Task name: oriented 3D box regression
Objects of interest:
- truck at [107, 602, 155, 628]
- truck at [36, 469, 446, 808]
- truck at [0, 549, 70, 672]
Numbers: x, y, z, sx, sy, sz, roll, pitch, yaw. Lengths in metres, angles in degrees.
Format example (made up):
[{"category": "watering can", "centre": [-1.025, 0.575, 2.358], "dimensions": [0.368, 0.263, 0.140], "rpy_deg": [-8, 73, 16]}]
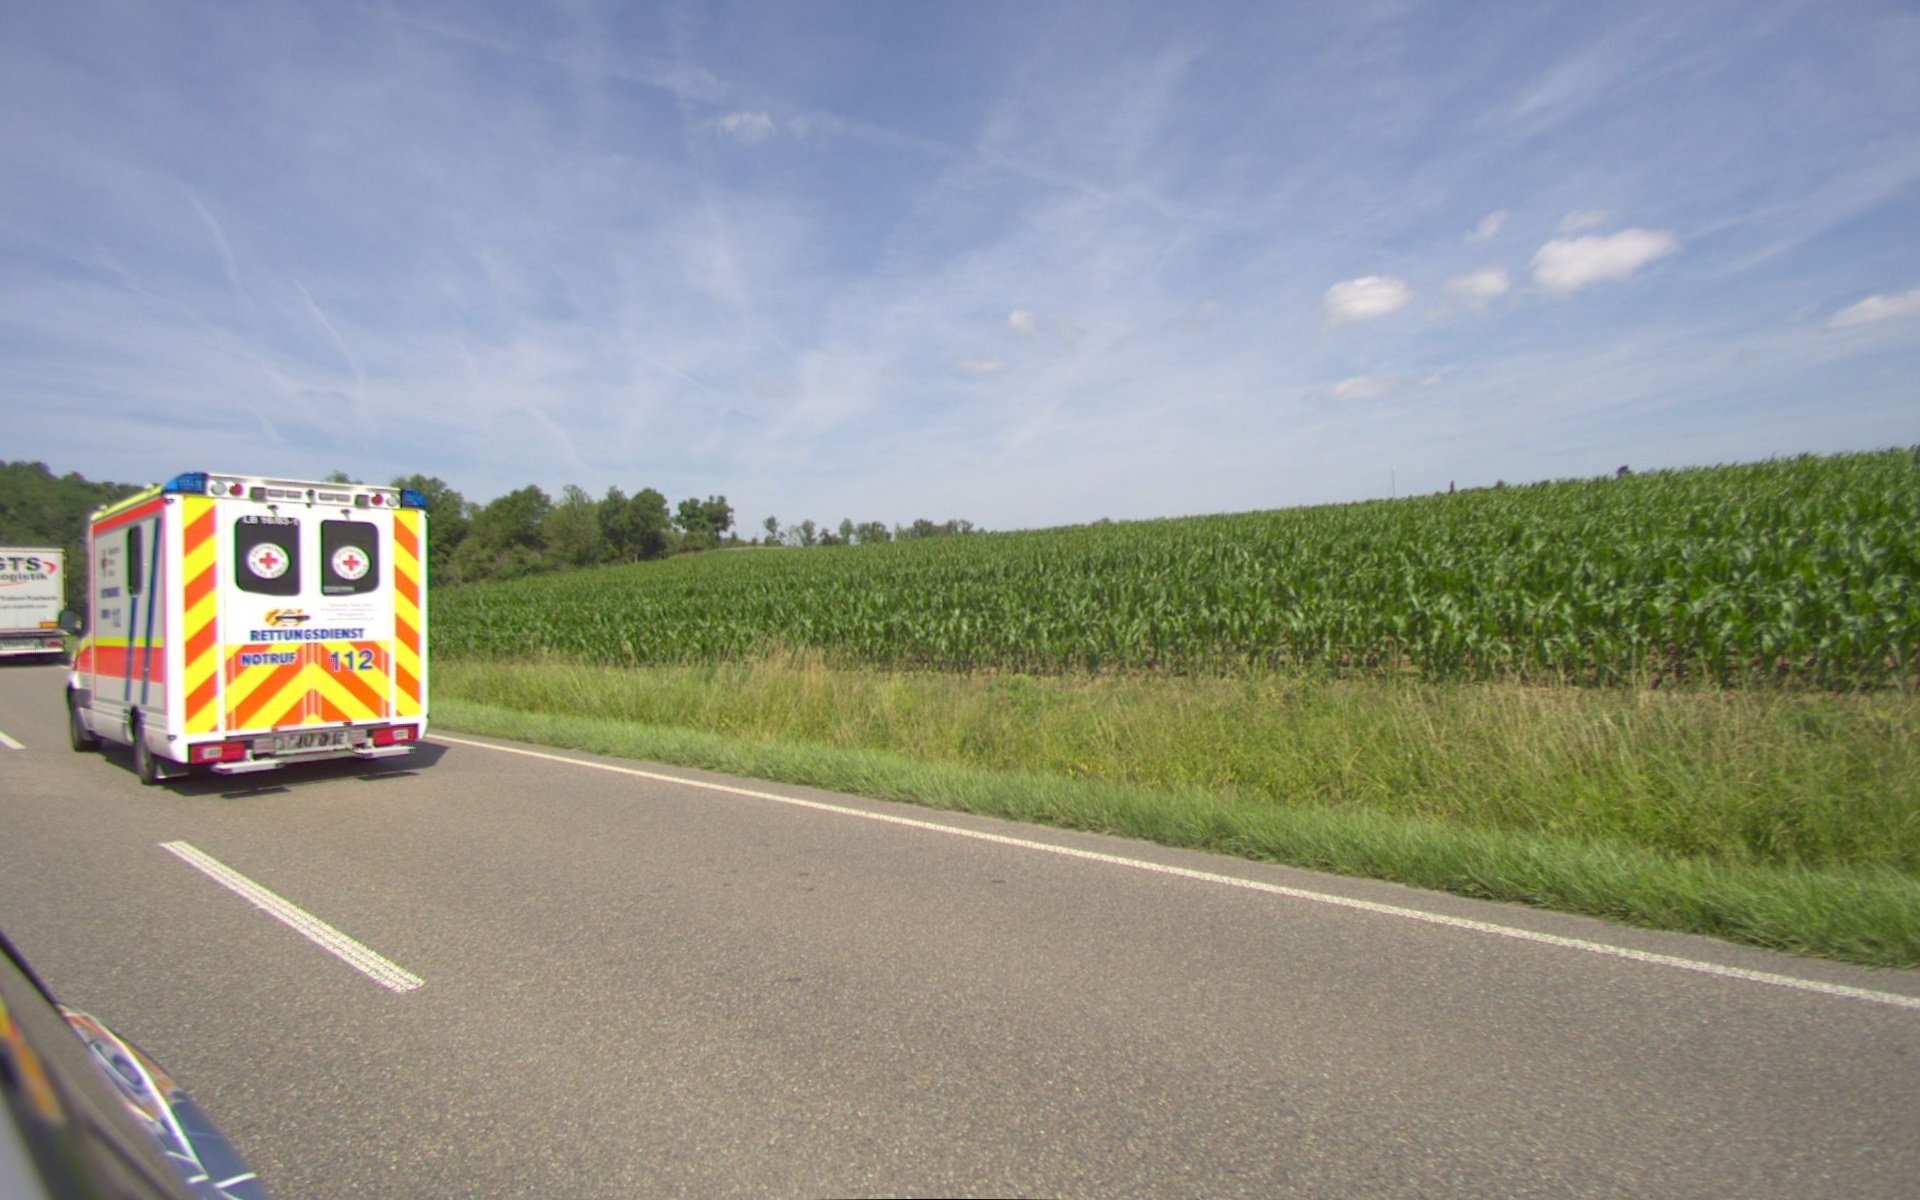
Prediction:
[{"category": "truck", "centre": [-137.018, 2.407, 167.546], "dimensions": [2.732, 4.029, 17.081], "rpy_deg": [-1, 0, -28]}, {"category": "truck", "centre": [-8.055, 0.352, 10.978], "dimensions": [6.413, 2.692, 2.185], "rpy_deg": [-1, -1, 41]}, {"category": "truck", "centre": [-37.199, 0.483, 38.989], "dimensions": [16.533, 4.023, 2.796], "rpy_deg": [-1, -2, 43]}]
